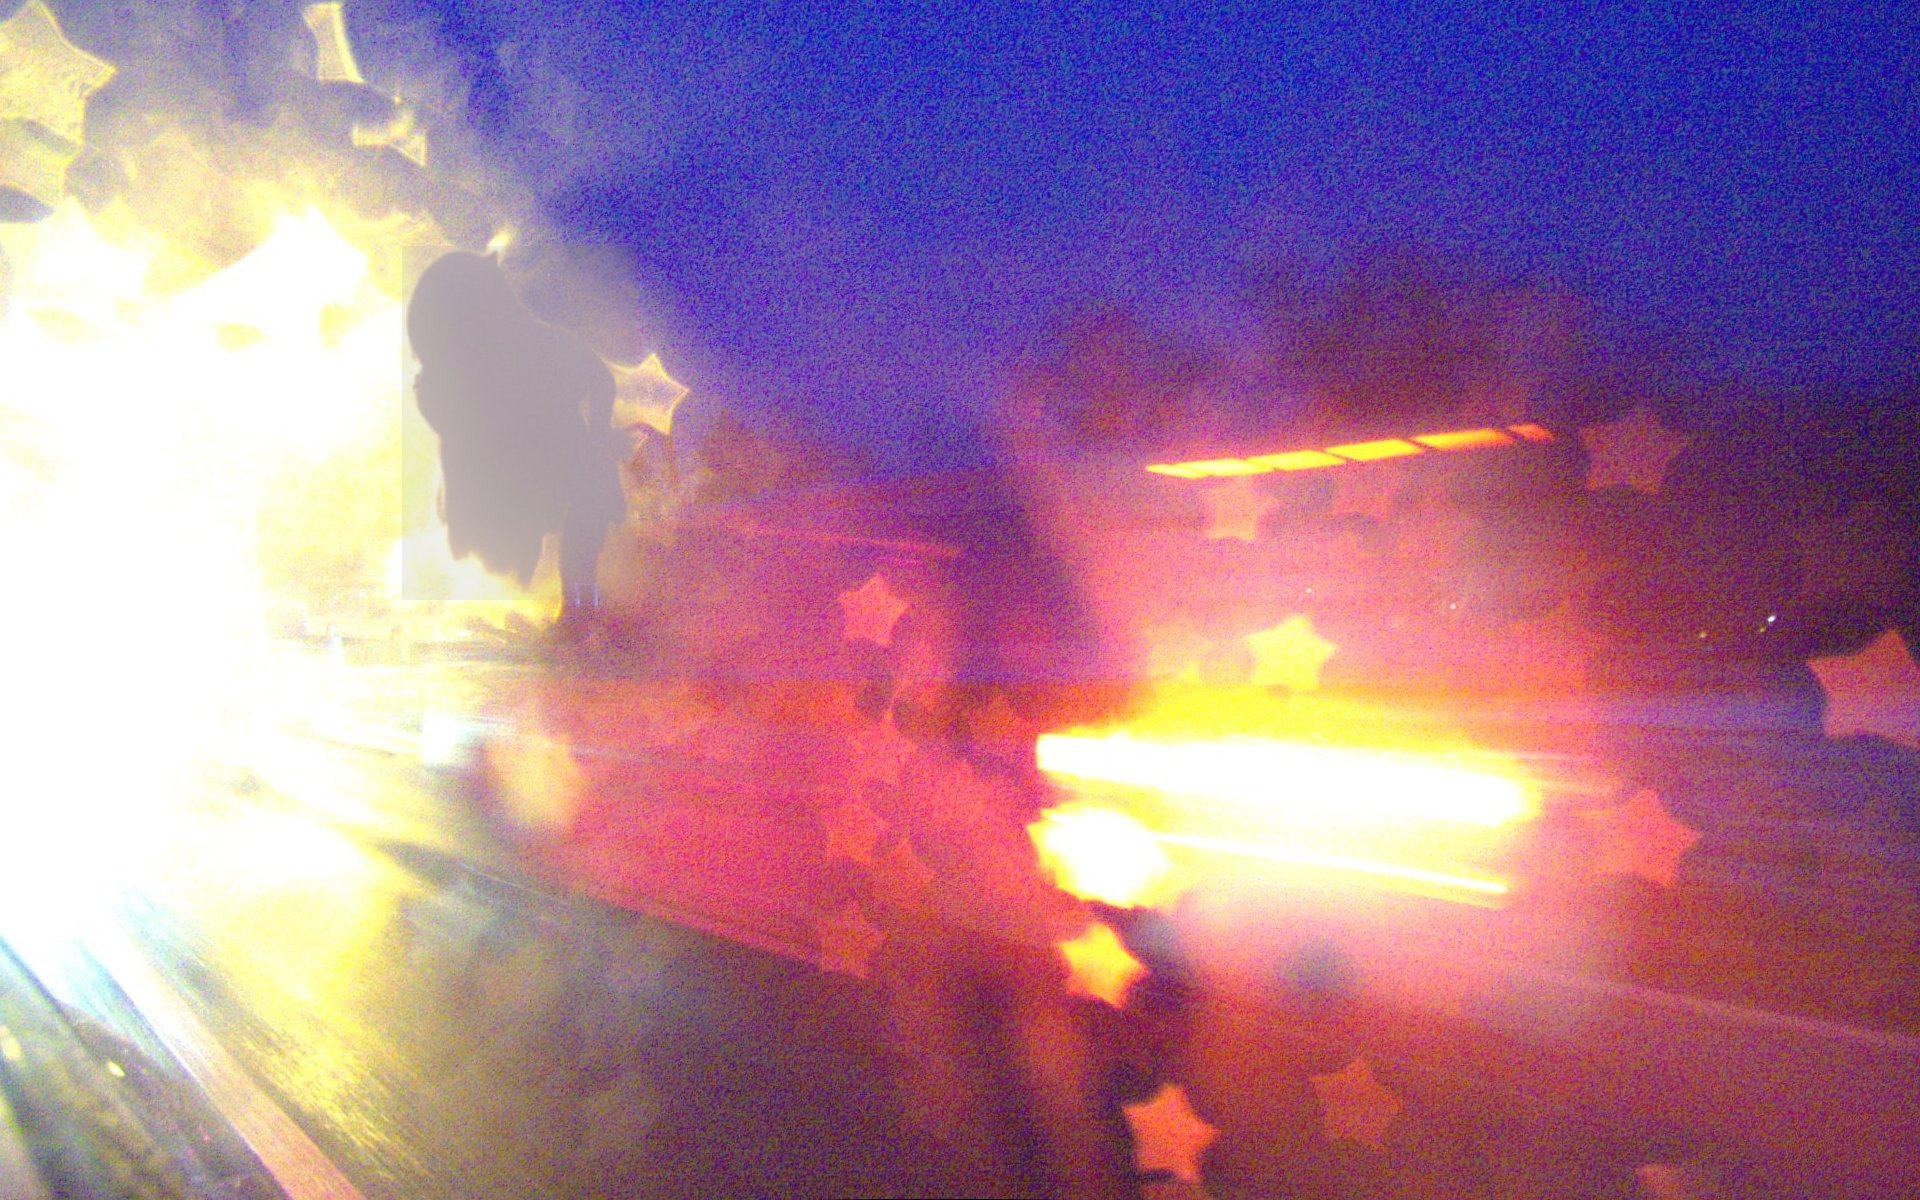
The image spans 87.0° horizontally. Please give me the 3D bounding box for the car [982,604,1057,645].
[{"bbox_3d":[3.362,1.375,57.379,3.990,2.071,1.744,2,3,34],"label":"car"}]

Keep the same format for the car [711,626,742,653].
[{"bbox_3d":[-15.410,2.583,66.906,1.830,1.408,4.050,3,2,-12],"label":"car"}]

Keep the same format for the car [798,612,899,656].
[{"bbox_3d":[-5.229,1.526,47.166,4.620,1.709,1.919,2,3,37],"label":"car"}]

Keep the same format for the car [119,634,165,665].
[{"bbox_3d":[-42.228,2.520,52.321,1.614,1.522,4.126,2,-2,-36],"label":"car"}]

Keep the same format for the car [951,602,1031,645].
[{"bbox_3d":[1.703,1.247,55.617,3.990,2.071,1.977,2,3,34],"label":"car"}]

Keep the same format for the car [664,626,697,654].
[{"bbox_3d":[-18.329,2.591,66.518,1.830,1.408,4.050,3,2,-12],"label":"car"}]

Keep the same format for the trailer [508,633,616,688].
[{"bbox_3d":[-13.518,1.999,34.294,4.101,1.690,1.792,-1,-3,43],"label":"trailer"}]

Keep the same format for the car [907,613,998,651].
[{"bbox_3d":[-0.436,1.643,53.515,4.620,1.709,1.919,2,3,37],"label":"car"}]

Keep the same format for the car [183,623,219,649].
[{"bbox_3d":[-52.235,2.432,69.731,1.672,1.611,3.812,0,1,-32],"label":"car"}]

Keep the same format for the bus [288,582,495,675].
[{"bbox_3d":[-26.878,1.119,47.404,13.023,3.897,2.869,1,1,34],"label":"bus"}]

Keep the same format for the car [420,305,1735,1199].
[{"bbox_3d":[-0.021,0.563,4.037,4.840,2.028,1.974,-3,0,39],"label":"car"}]

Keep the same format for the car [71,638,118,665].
[{"bbox_3d":[-50.677,2.990,59.228,3.368,1.302,1.570,2,3,41],"label":"car"}]
